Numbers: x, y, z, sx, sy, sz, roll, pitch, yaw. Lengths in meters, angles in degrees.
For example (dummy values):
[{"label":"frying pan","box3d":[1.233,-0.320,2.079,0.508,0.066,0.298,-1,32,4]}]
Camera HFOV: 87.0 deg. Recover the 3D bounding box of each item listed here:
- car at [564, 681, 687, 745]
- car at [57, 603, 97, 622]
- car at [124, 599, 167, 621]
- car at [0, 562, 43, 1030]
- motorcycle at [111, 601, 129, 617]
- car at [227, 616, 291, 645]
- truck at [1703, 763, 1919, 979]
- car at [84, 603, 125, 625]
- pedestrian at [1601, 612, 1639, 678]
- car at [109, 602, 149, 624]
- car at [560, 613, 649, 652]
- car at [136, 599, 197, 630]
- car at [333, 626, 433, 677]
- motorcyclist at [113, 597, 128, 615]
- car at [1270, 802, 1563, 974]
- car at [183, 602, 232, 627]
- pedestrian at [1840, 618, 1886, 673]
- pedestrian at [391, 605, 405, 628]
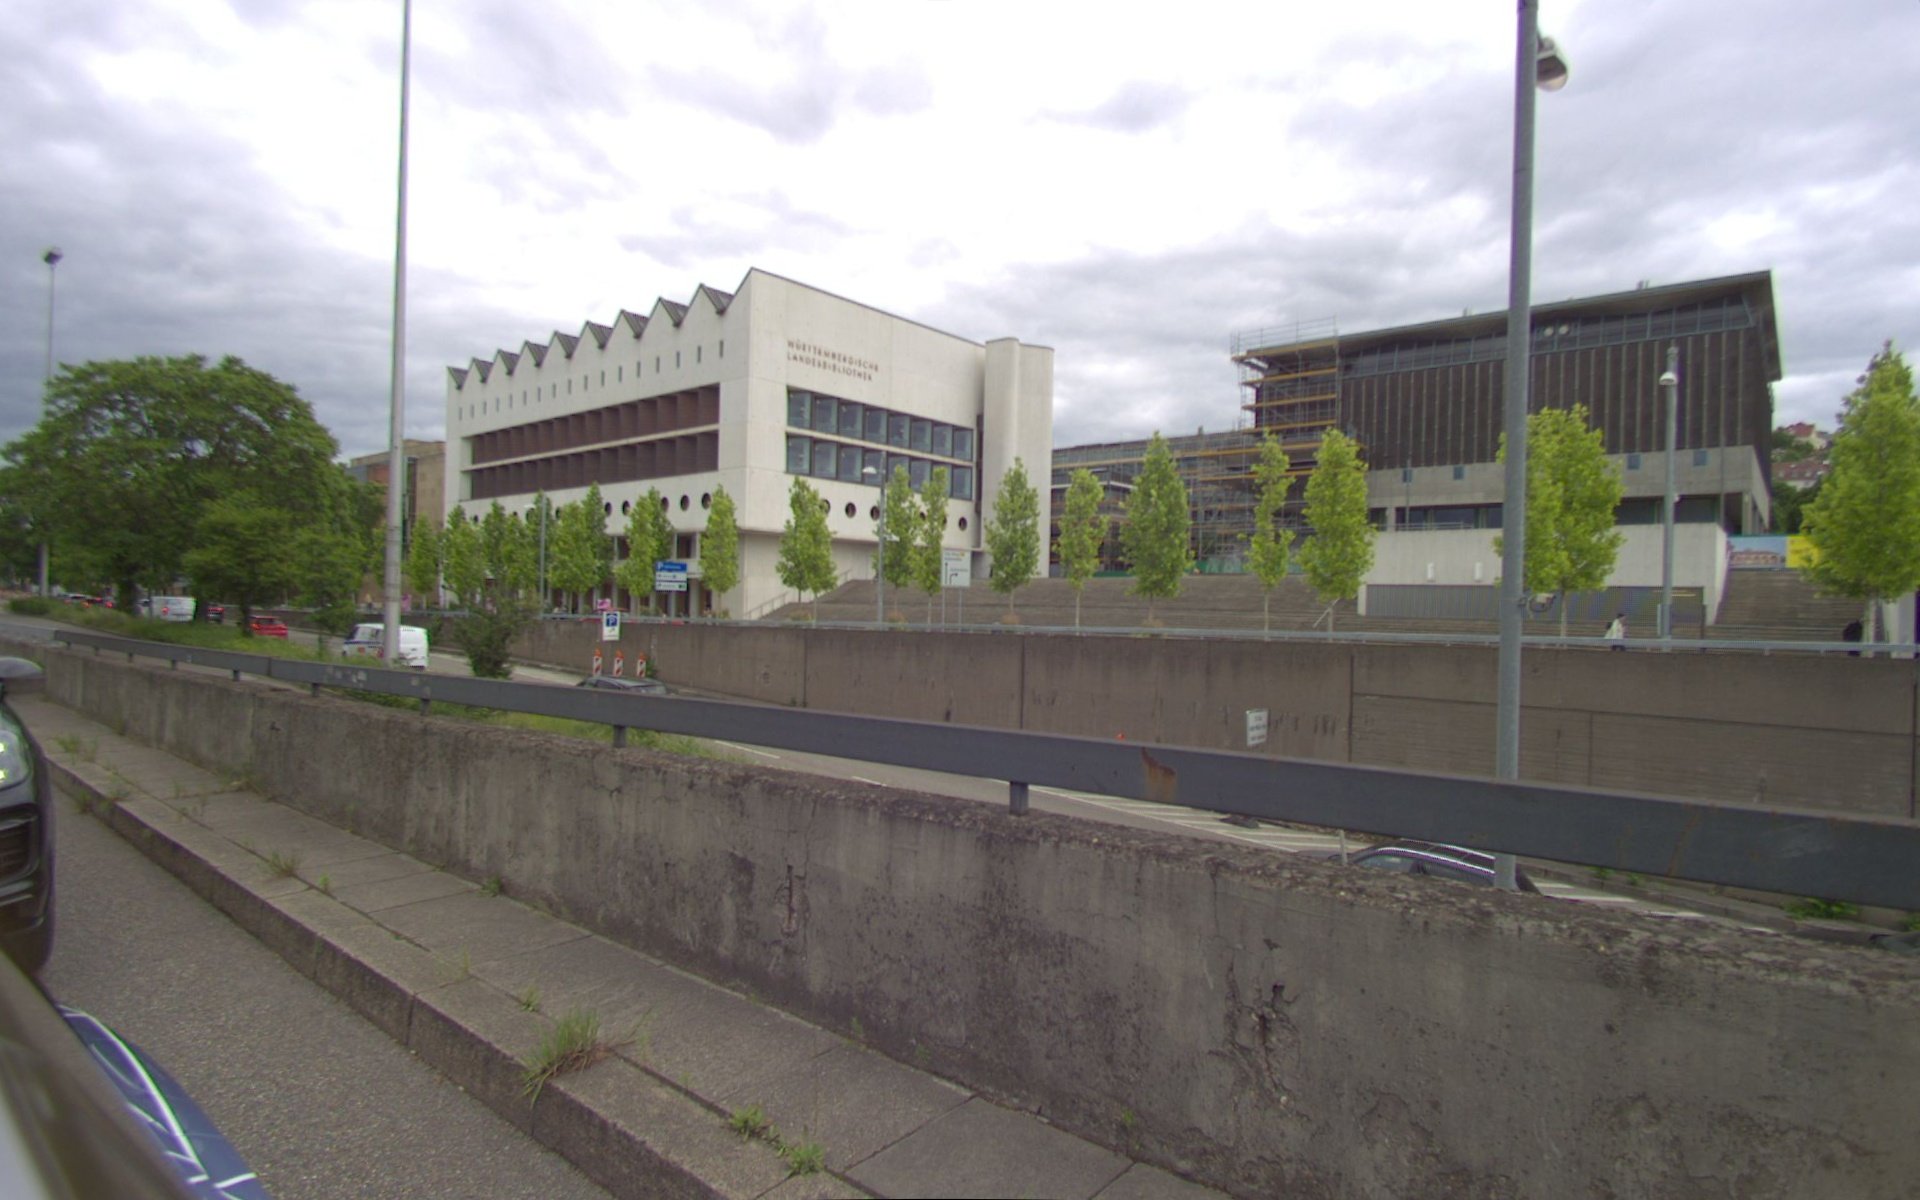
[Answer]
[{"label":"car","box3d":[-10.341,3.412,31.151,3.999,1.560,1.855,0,-1,42]},{"label":"car","box3d":[-74.714,1.062,85.607,3.998,1.409,1.973,0,-4,41]},{"label":"car","box3d":[-65.445,0.783,81.273,4.141,1.500,1.758,3,0,38]},{"label":"car","box3d":[-5.571,0.666,4.494,4.733,1.602,1.879,0,0,44]},{"label":"motorcycle","box3d":[-64.178,0.689,77.314,2.050,1.106,0.678,3,-2,41]},{"label":"car","box3d":[-38.086,1.617,54.960,3.999,1.497,1.972,-1,-2,42]},{"label":"truck","box3d":[13.748,3.841,14.077,5.375,2.419,2.160,-1,-2,40]},{"label":"car","box3d":[-67.955,1.085,80.356,4.144,1.500,1.757,3,0,40]},{"label":"pedestrian","box3d":[20.782,1.408,31.874,0.729,2.029,0.794,1,-3,-42]},{"label":"car","box3d":[-72.923,1.098,88.779,3.998,1.776,1.973,0,-3,41]},{"label":"car","box3d":[-17.987,1.598,51.149,4.732,1.869,2.152,-1,-2,40]},{"label":"car","box3d":[-51.856,0.915,66.122,5.246,1.651,1.973,2,-5,40]},{"label":"car","box3d":[-24.538,2.125,42.949,5.115,2.029,2.194,-1,-2,42]},{"label":"motorcyclist","box3d":[-64.183,0.455,77.336,0.718,1.362,0.662,3,-3,41]},{"label":"car","box3d":[7.056,4.341,15.821,3.903,1.553,1.696,1,1,39]},{"label":"car","box3d":[-54.265,1.052,72.964,4.141,1.500,1.758,3,0,38]},{"label":"pedestrian","box3d":[27.488,1.378,30.808,0.728,1.655,0.795,1,-3,-30]},{"label":"pedestrian","box3d":[-48.880,1.431,88.026,1.016,2.029,0.712,1,1,42]}]
